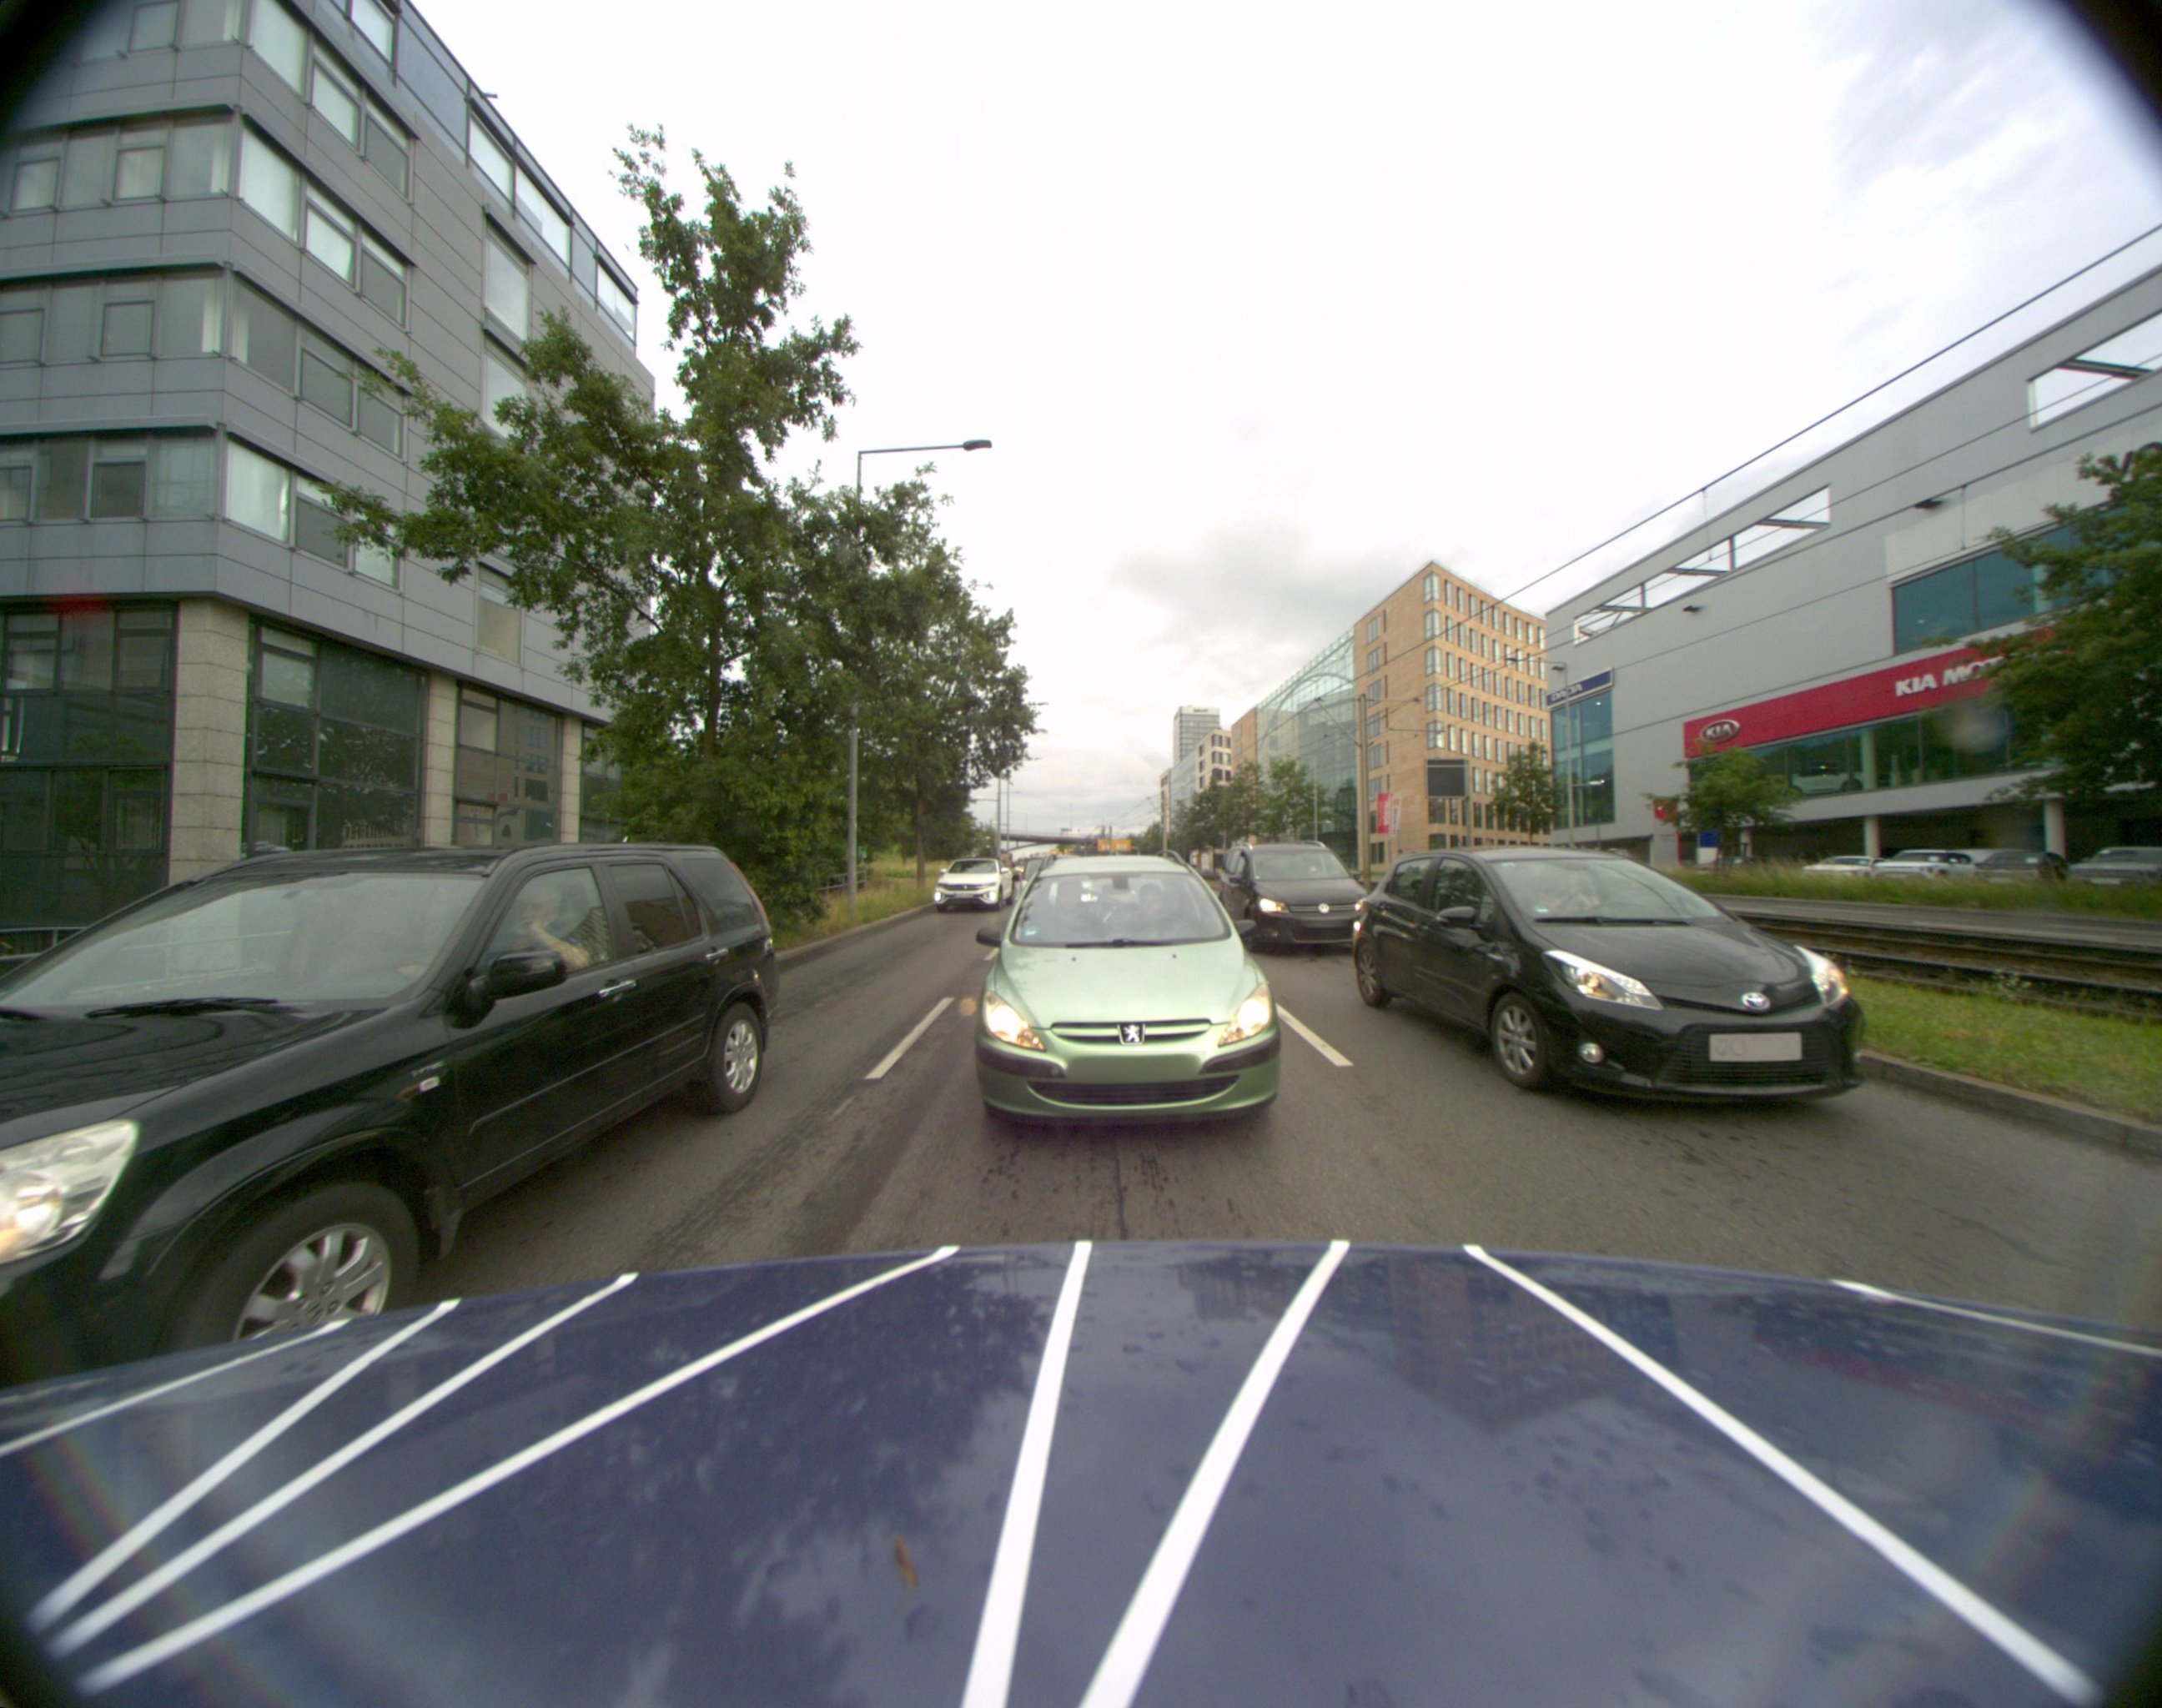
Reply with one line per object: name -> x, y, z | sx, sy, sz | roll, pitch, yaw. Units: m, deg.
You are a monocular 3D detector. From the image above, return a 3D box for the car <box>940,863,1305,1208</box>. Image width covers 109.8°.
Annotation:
car -> 0.182, 0.887, 5.798 | 1.704, 1.523, 4.370 | -1, 0, -1

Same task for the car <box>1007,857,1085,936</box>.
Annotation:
car -> -0.744, 0.849, 16.688 | 1.518, 1.495, 3.167 | -1, 1, -2

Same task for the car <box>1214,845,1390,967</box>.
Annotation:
car -> 3.316, 0.678, 12.270 | 1.786, 1.597, 4.318 | -1, 1, 3

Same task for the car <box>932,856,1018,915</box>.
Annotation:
car -> -2.992, 0.858, 22.224 | 1.827, 1.495, 3.766 | -1, 1, 2

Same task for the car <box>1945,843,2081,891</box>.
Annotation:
car -> 31.609, 0.427, 25.778 | 3.528, 1.344, 1.696 | -4, 1, -17

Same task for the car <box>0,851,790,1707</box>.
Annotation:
car -> -2.951, 0.837, 3.115 | 1.759, 1.649, 4.338 | -1, 1, 1

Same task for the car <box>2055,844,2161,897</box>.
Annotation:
car -> 32.025, 0.461, 23.265 | 3.528, 1.344, 1.696 | -4, 1, -20

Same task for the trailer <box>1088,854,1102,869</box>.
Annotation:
trailer -> 4.315, 2.292, 232.691 | 3.143, 4.304, 13.276 | 2, 0, -3

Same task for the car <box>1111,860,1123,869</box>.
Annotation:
car -> 7.701, 2.279, 161.663 | 1.999, 1.709, 4.839 | 1, 0, -3

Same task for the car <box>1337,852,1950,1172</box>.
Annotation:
car -> 3.435, 0.776, 5.664 | 1.704, 1.523, 3.826 | -1, 1, -1

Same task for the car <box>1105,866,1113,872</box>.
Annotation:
car -> 7.204, 3.841, 195.307 | 1.589, 1.504, 4.099 | 1, 0, -5

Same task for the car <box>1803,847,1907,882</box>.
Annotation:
car -> 31.748, 0.406, 31.164 | 3.668, 1.181, 1.696 | -4, 1, -22

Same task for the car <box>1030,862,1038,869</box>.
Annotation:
car -> -13.467, 3.415, 219.090 | 1.750, 2.002, 3.997 | -1, 0, -10

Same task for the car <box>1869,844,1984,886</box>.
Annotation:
car -> 31.771, 0.405, 28.559 | 3.668, 1.287, 1.696 | -4, 1, -22
